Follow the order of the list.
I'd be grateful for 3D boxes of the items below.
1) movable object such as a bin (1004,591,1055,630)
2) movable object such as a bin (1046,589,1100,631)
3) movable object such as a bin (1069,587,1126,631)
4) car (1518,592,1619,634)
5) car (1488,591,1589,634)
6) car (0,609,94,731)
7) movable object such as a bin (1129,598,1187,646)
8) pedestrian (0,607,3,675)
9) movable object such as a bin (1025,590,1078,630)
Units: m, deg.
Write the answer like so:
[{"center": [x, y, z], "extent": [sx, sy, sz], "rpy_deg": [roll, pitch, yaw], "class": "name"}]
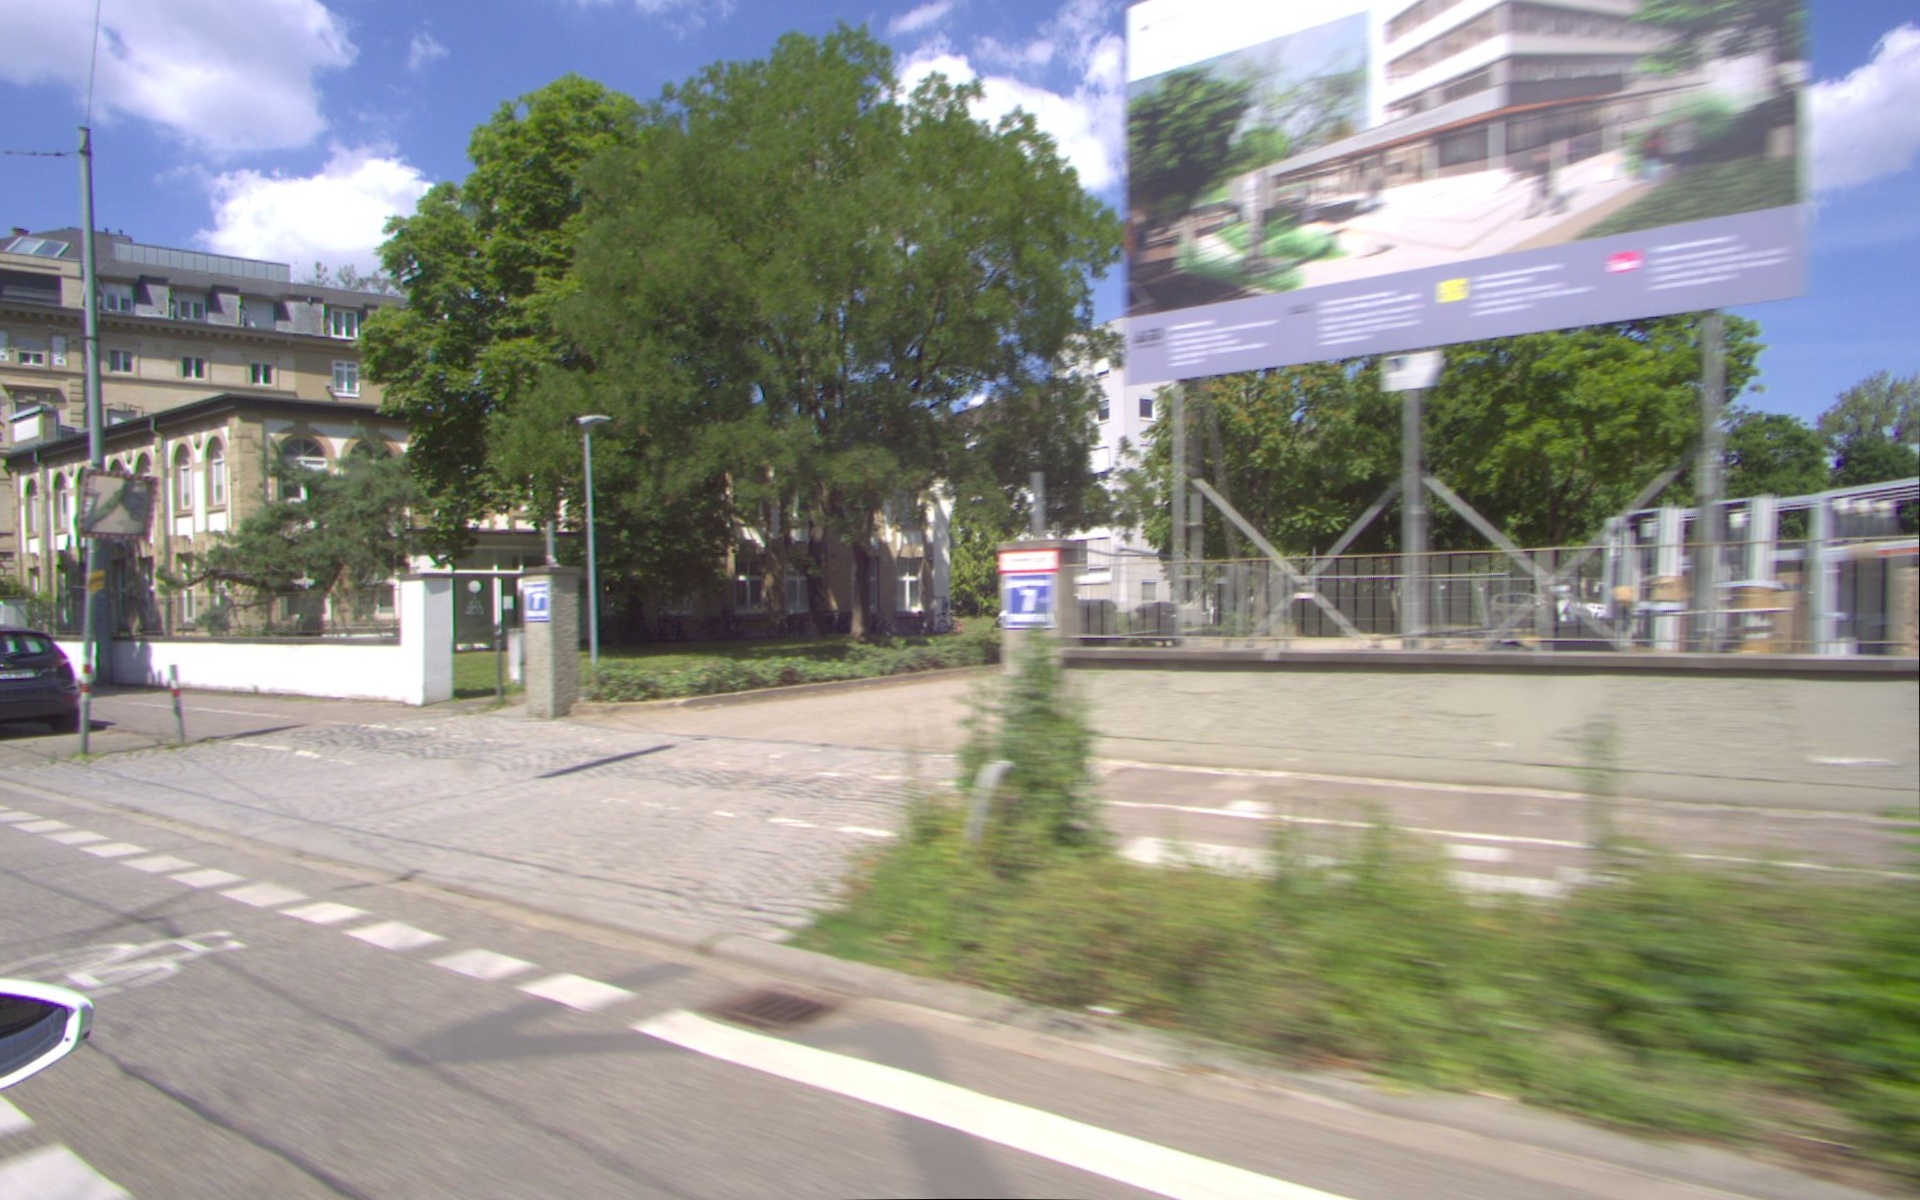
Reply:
[{"center": [2.696, 0.393, 38.840], "extent": [1.391, 1.483, 1.378], "rpy_deg": [-1, 1, -38], "class": "movable object such as a bin"}, {"center": [4.099, 0.344, 36.277], "extent": [1.391, 1.483, 1.379], "rpy_deg": [-1, 1, -36], "class": "movable object such as a bin"}, {"center": [4.807, 0.318, 35.044], "extent": [1.391, 1.483, 1.378], "rpy_deg": [-1, 1, -38], "class": "movable object such as a bin"}, {"center": [31.040, 0.688, 51.155], "extent": [1.972, 2.039, 3.979], "rpy_deg": [1, -2, -31], "class": "car"}, {"center": [28.941, 0.645, 50.188], "extent": [1.972, 2.039, 3.979], "rpy_deg": [1, -2, -31], "class": "car"}, {"center": [-13.529, 0.916, 13.451], "extent": [3.814, 1.505, 1.637], "rpy_deg": [-1, 0, 29], "class": "car"}, {"center": [6.236, 0.678, 31.618], "extent": [1.382, 1.483, 1.388], "rpy_deg": [-1, 0, -10], "class": "movable object such as a bin"}, {"center": [-20.531, 0.719, 20.885], "extent": [0.608, 1.760, 0.478], "rpy_deg": [-2, 1, -4], "class": "pedestrian"}, {"center": [3.426, 0.366, 37.535], "extent": [1.391, 1.483, 1.378], "rpy_deg": [-1, 1, -38], "class": "movable object such as a bin"}]
